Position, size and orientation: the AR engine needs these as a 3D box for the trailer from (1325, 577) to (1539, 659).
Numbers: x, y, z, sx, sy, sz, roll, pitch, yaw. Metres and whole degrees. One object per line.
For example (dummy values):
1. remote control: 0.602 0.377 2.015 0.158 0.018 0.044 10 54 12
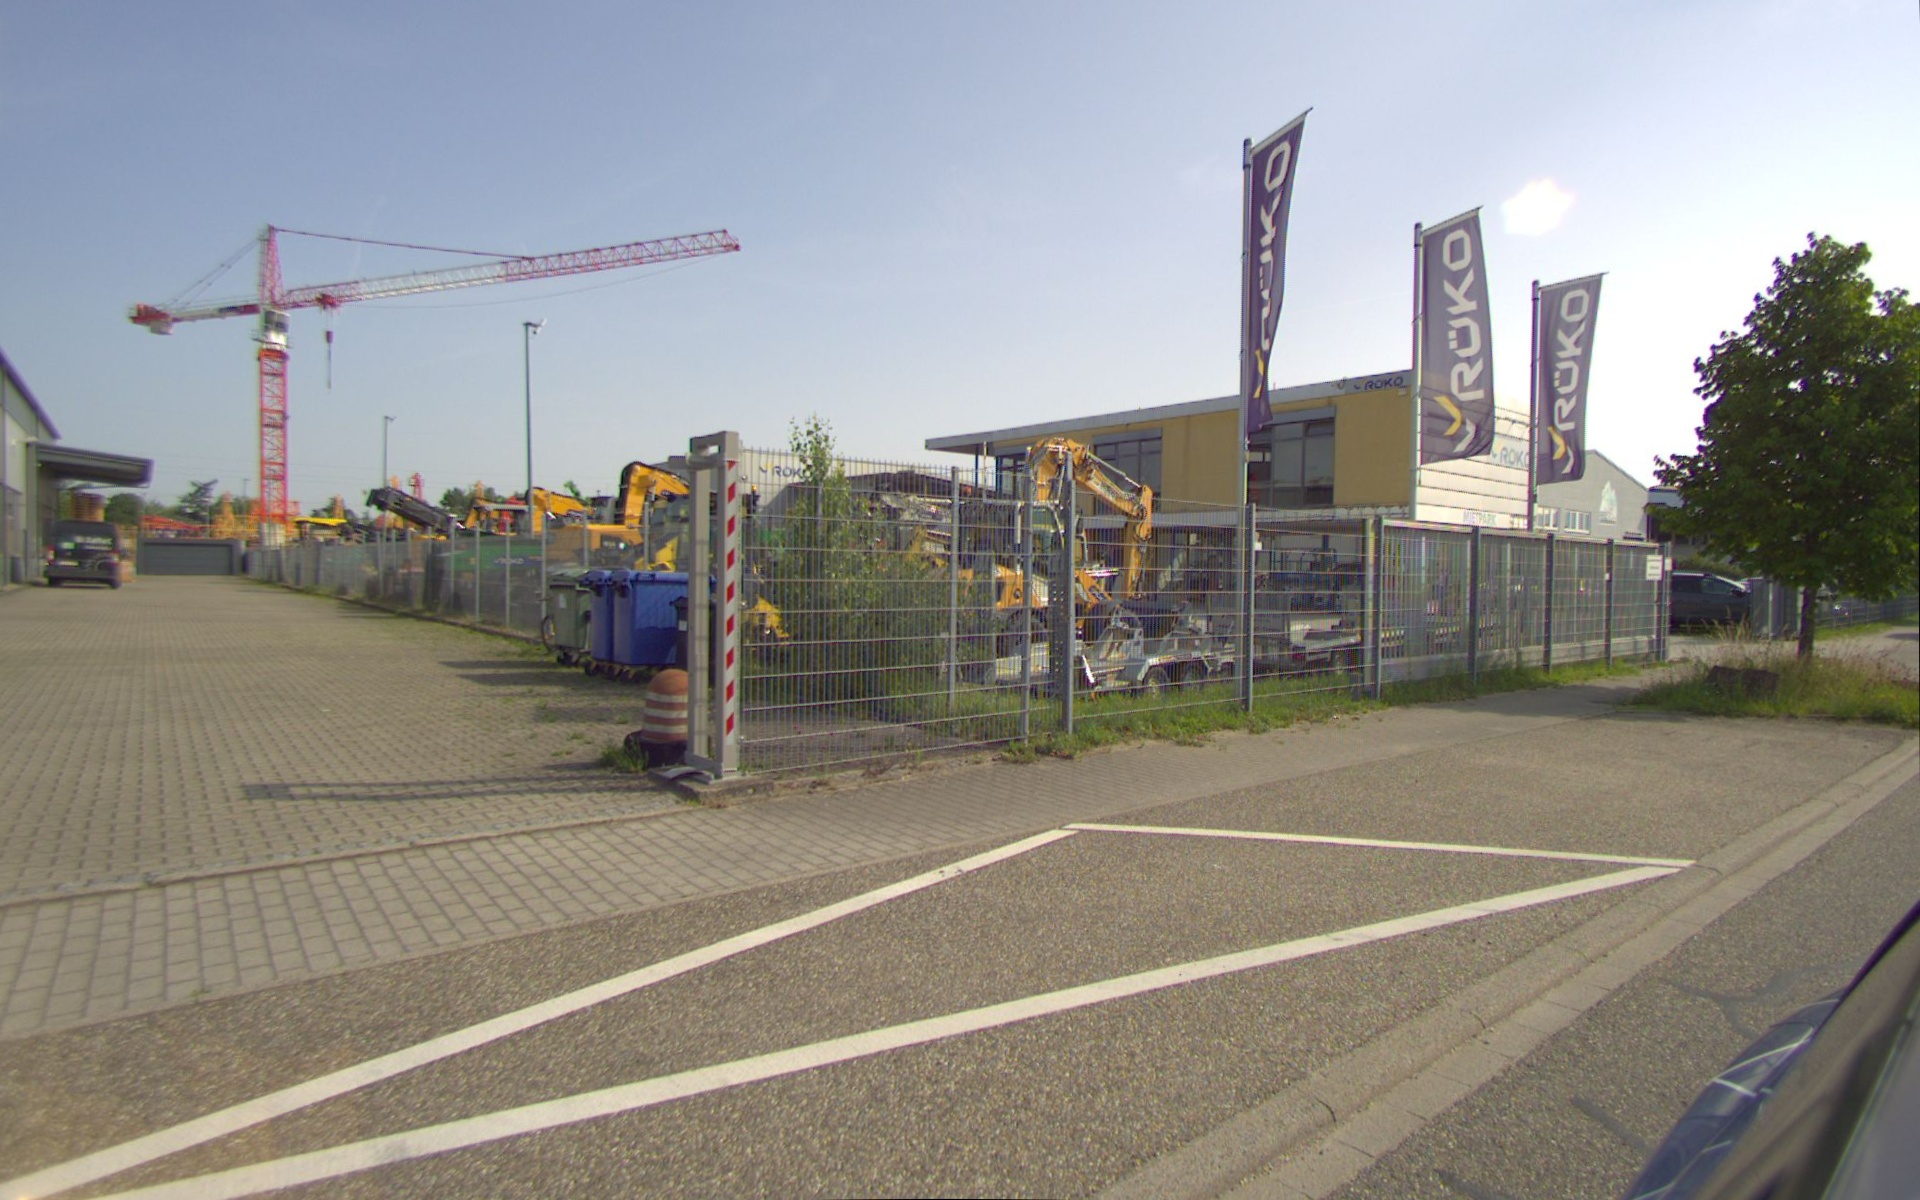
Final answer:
1. trailer: 9.225 0.266 19.642 4.481 1.326 1.999 -2 3 -38

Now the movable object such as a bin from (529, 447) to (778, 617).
1. movable object such as a bin: -7.886 -1.659 26.309 5.615 3.921 2.691 -1 2 -39

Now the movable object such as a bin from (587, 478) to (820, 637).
1. movable object such as a bin: -5.440 -0.887 21.713 4.411 3.069 1.998 -1 2 -39

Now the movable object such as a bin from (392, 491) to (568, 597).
1. movable object such as a bin: -19.441 -2.234 41.182 6.040 3.977 2.454 -2 3 -43

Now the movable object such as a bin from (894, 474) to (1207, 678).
1. movable object such as a bin: 1.572 -0.389 16.123 5.067 2.786 1.891 -1 2 -39

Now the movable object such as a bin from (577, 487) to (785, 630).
1. movable object such as a bin: -6.513 -0.953 23.849 4.294 3.069 1.998 -1 2 -39

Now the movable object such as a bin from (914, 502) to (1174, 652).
1. movable object such as a bin: 1.643 -0.441 19.011 4.674 2.489 1.999 -1 2 -36

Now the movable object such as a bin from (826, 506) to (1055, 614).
1. movable object such as a bin: -0.435 -1.106 28.899 6.238 2.749 2.706 0 2 -41

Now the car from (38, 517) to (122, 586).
1. car: -33.956 -1.854 39.156 2.185 2.420 4.702 2 1 -39

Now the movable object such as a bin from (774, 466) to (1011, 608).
1. movable object such as a bin: -1.976 -1.839 31.822 7.082 3.977 2.924 0 2 -41

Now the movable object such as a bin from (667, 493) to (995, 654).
1. movable object such as a bin: -2.301 -0.503 18.649 5.243 2.522 2.930 -1 2 -39

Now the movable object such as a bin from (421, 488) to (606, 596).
1. movable object such as a bin: -17.082 -2.168 38.960 6.040 3.827 2.454 -2 3 -43

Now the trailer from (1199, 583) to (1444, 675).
1. trailer: 5.973 0.375 16.514 4.219 1.259 1.948 -1 3 -41

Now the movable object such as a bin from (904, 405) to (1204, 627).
1. movable object such as a bin: 2.585 -1.927 25.999 7.539 4.866 3.322 0 2 -41

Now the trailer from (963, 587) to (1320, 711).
1. trailer: 2.505 0.503 13.263 4.712 1.259 2.130 -1 3 -41

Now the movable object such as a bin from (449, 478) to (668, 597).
1. movable object such as a bin: -14.524 -2.207 37.024 7.082 3.977 2.469 -2 3 -43

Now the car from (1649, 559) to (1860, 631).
1. car: 21.003 -0.203 26.854 4.225 1.759 1.870 2 2 44
